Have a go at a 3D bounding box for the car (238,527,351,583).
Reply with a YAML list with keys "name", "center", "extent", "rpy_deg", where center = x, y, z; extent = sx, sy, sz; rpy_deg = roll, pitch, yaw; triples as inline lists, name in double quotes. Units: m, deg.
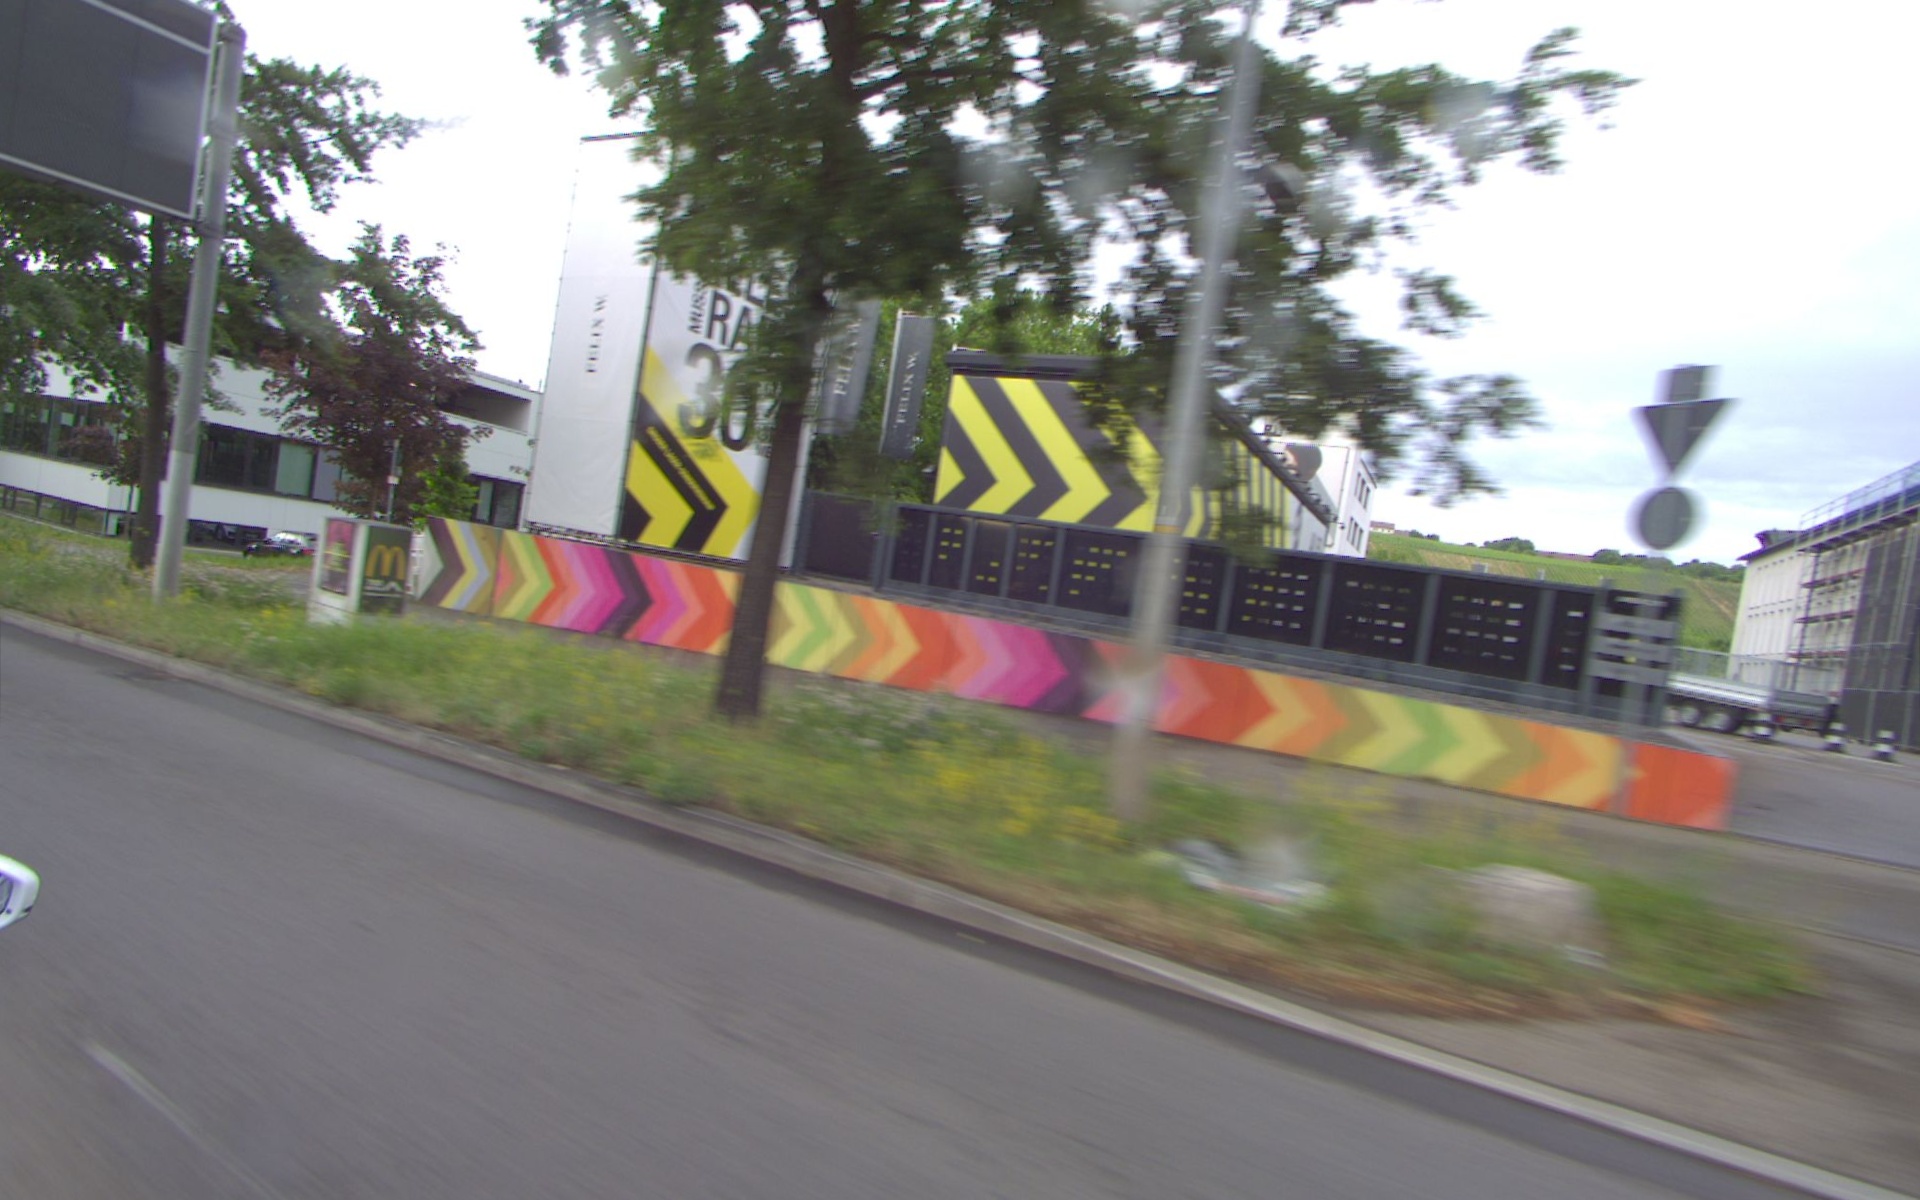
- name: "car"
  center: [-24.863, -1.690, 37.561]
  extent: [3.941, 1.563, 1.867]
  rpy_deg: [7, -2, 31]
